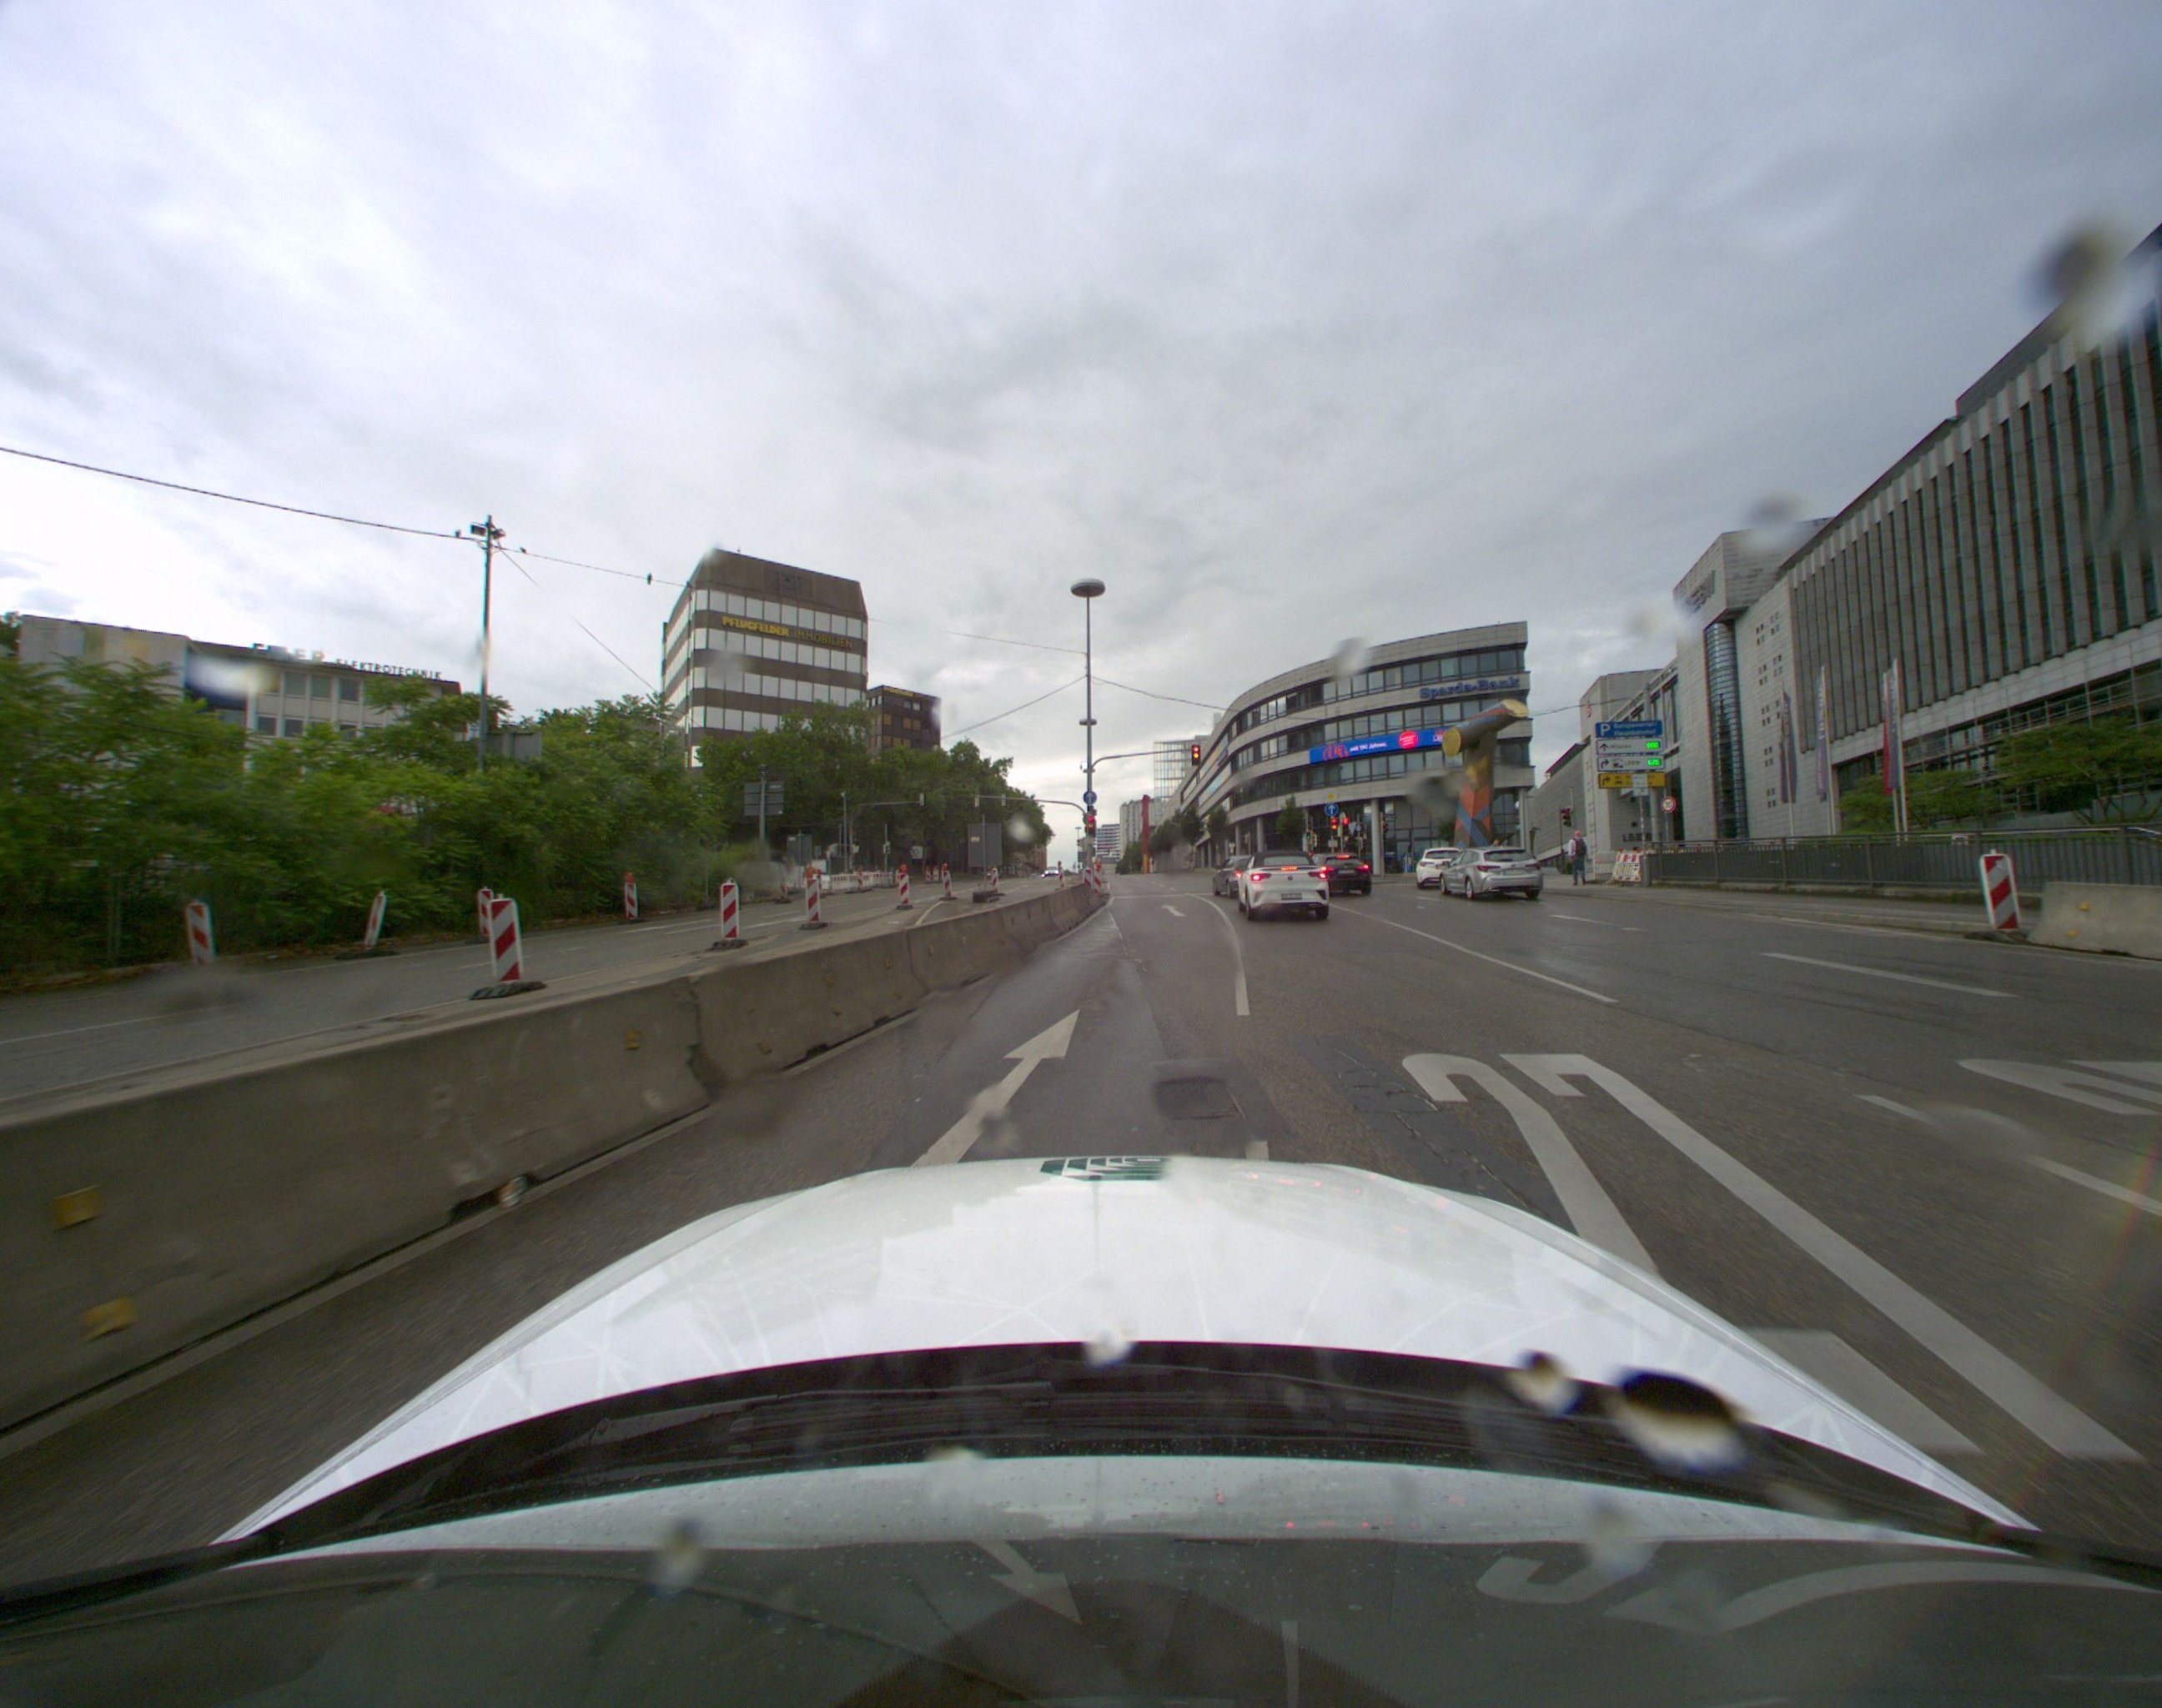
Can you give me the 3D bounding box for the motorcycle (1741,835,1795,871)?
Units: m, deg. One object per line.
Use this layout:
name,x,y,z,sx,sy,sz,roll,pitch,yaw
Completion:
motorcycle,27.317,-0.053,32.387,1.722,1.354,0.605,-2,-1,-6

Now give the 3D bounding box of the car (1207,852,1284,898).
car,5.574,0.697,28.031,1.735,1.443,3.998,-1,-1,-1

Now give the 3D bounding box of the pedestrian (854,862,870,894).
pedestrian,-12.801,1.413,47.667,0.669,1.902,0.776,-1,-3,4

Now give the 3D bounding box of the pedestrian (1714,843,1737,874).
pedestrian,39.569,0.291,49.983,0.958,1.818,0.785,-4,-4,42

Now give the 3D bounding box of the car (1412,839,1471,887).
car,13.289,0.331,30.218,1.756,1.634,4.605,-2,-1,22

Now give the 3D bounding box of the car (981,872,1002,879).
car,-20.477,4.930,186.517,1.801,1.511,4.606,-5,-4,39

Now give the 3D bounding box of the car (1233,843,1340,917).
car,4.766,0.578,19.453,1.953,1.549,4.227,-1,-1,7

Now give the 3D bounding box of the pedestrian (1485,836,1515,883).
pedestrian,19.186,0.265,37.298,0.855,2.099,0.898,1,-1,-22

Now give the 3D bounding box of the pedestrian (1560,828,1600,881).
pedestrian,16.406,0.030,26.783,0.727,1.711,0.843,-1,-3,1

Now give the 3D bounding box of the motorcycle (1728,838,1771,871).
motorcycle,27.182,0.014,33.109,1.239,1.270,0.619,-2,-1,-6

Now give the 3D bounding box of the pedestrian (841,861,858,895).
pedestrian,-13.533,1.417,47.683,0.757,1.923,0.743,-1,-3,4

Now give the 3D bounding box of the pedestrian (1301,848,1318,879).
pedestrian,14.378,0.603,51.241,0.832,1.905,0.866,-3,-4,27

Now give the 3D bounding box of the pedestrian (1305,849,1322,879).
pedestrian,14.898,0.631,52.120,0.832,1.905,0.736,-3,-2,27

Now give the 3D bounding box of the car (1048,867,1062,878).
car,-3.574,2.581,113.534,1.755,1.461,4.360,-2,-1,1

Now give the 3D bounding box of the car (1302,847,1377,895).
car,8.645,0.596,27.555,1.744,1.407,4.238,-3,-2,9

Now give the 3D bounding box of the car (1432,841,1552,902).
car,11.587,0.410,23.328,1.690,1.451,4.628,-4,1,9
